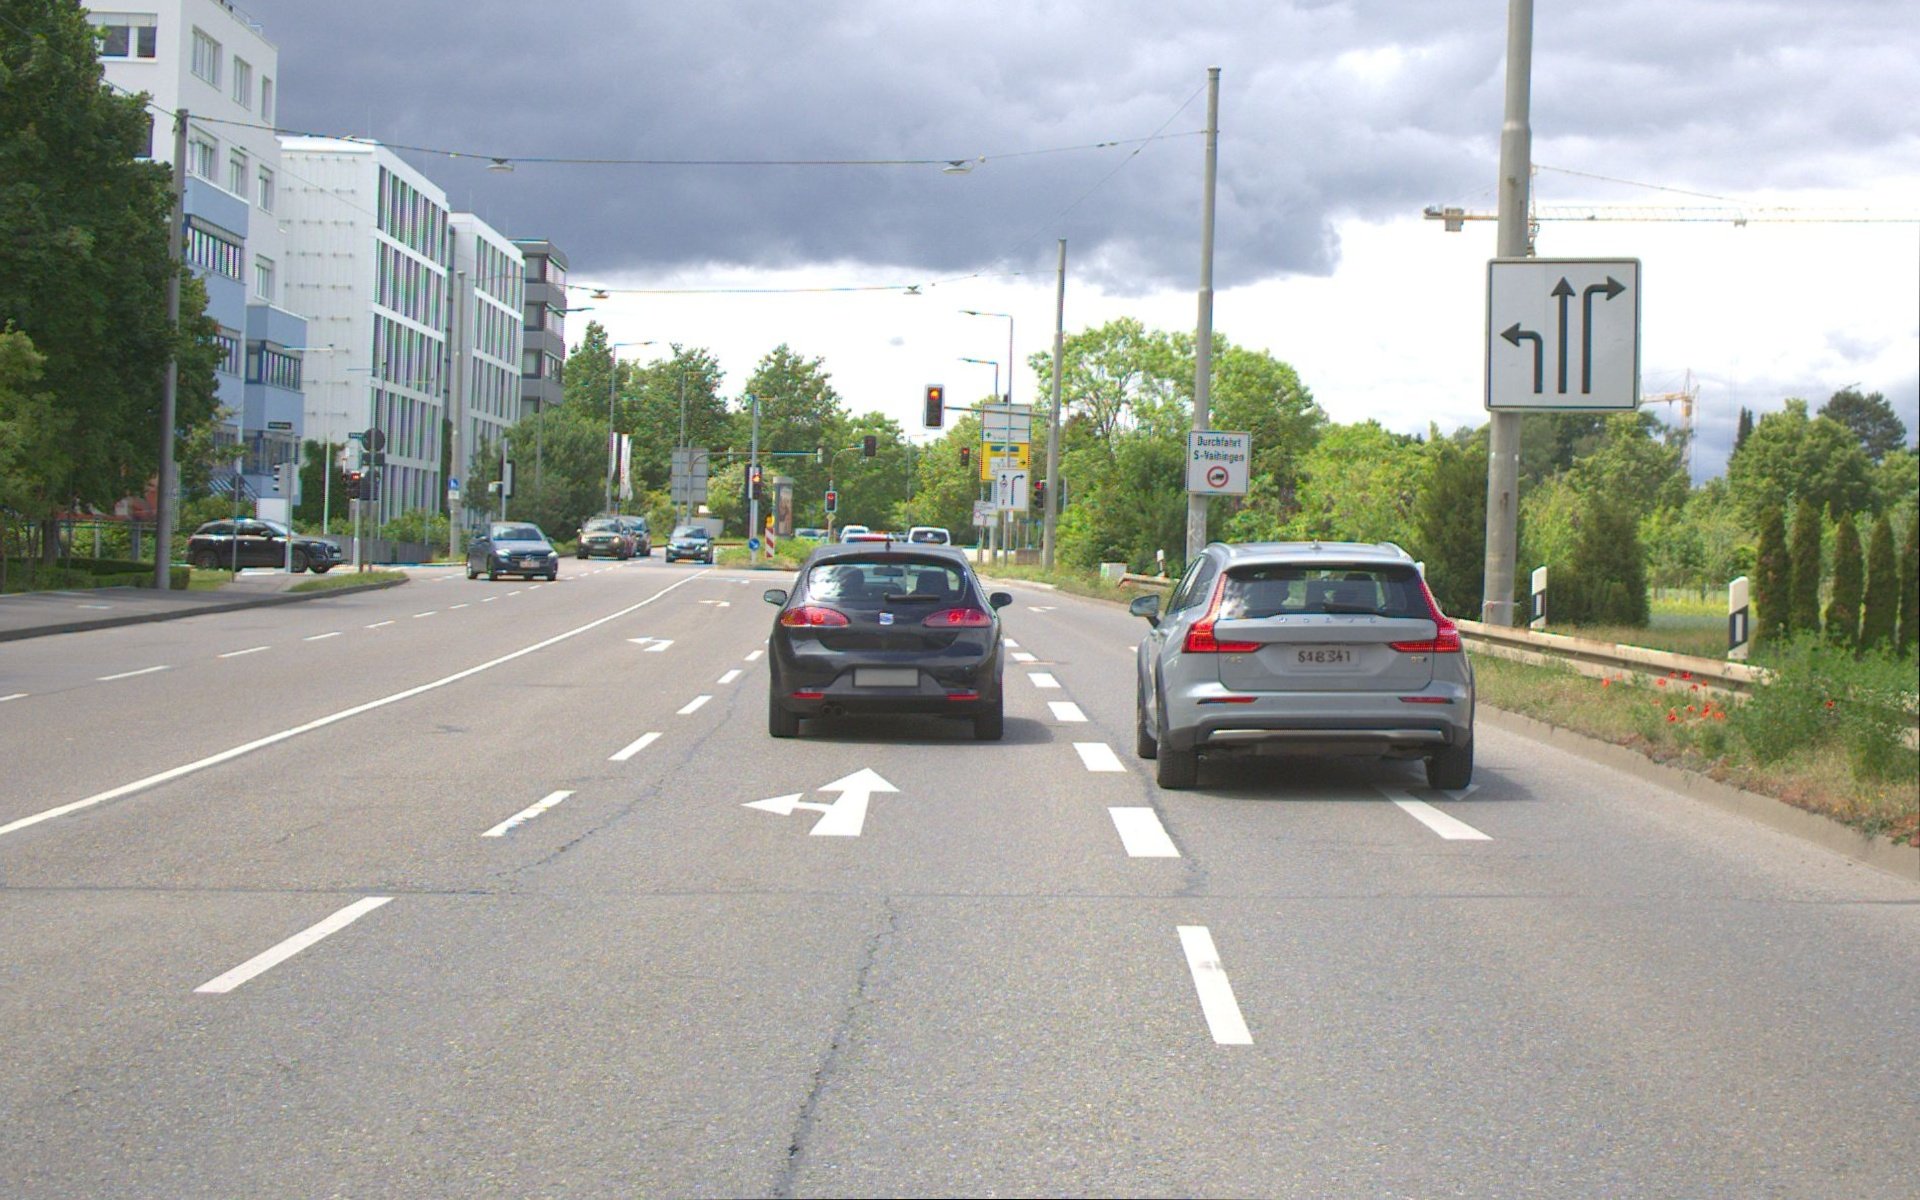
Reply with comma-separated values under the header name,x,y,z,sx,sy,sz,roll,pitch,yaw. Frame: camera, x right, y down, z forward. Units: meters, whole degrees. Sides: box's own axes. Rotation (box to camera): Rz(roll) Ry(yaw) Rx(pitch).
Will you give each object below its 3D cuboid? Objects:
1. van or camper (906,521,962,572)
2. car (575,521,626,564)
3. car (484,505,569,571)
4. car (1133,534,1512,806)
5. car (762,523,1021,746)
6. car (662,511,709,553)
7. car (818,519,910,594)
name,x,y,z,sx,sy,sz,roll,pitch,yaw
van or camper,-1.100,-2.243,145.025,1.899,1.919,4.000,4,-1,-5
car,-14.026,-2.248,134.285,1.751,1.625,4.001,0,1,-3
car,-11.584,-1.658,92.026,1.796,1.579,4.314,5,1,-2
car,2.156,0.370,21.593,1.958,1.520,4.340,0,1,1
car,-0.465,0.224,26.335,1.748,1.478,4.000,3,1,1
car,-10.580,-2.639,132.661,1.668,1.519,4.009,0,2,-3
car,-2.289,-1.061,81.277,1.983,1.584,4.227,2,2,-3
